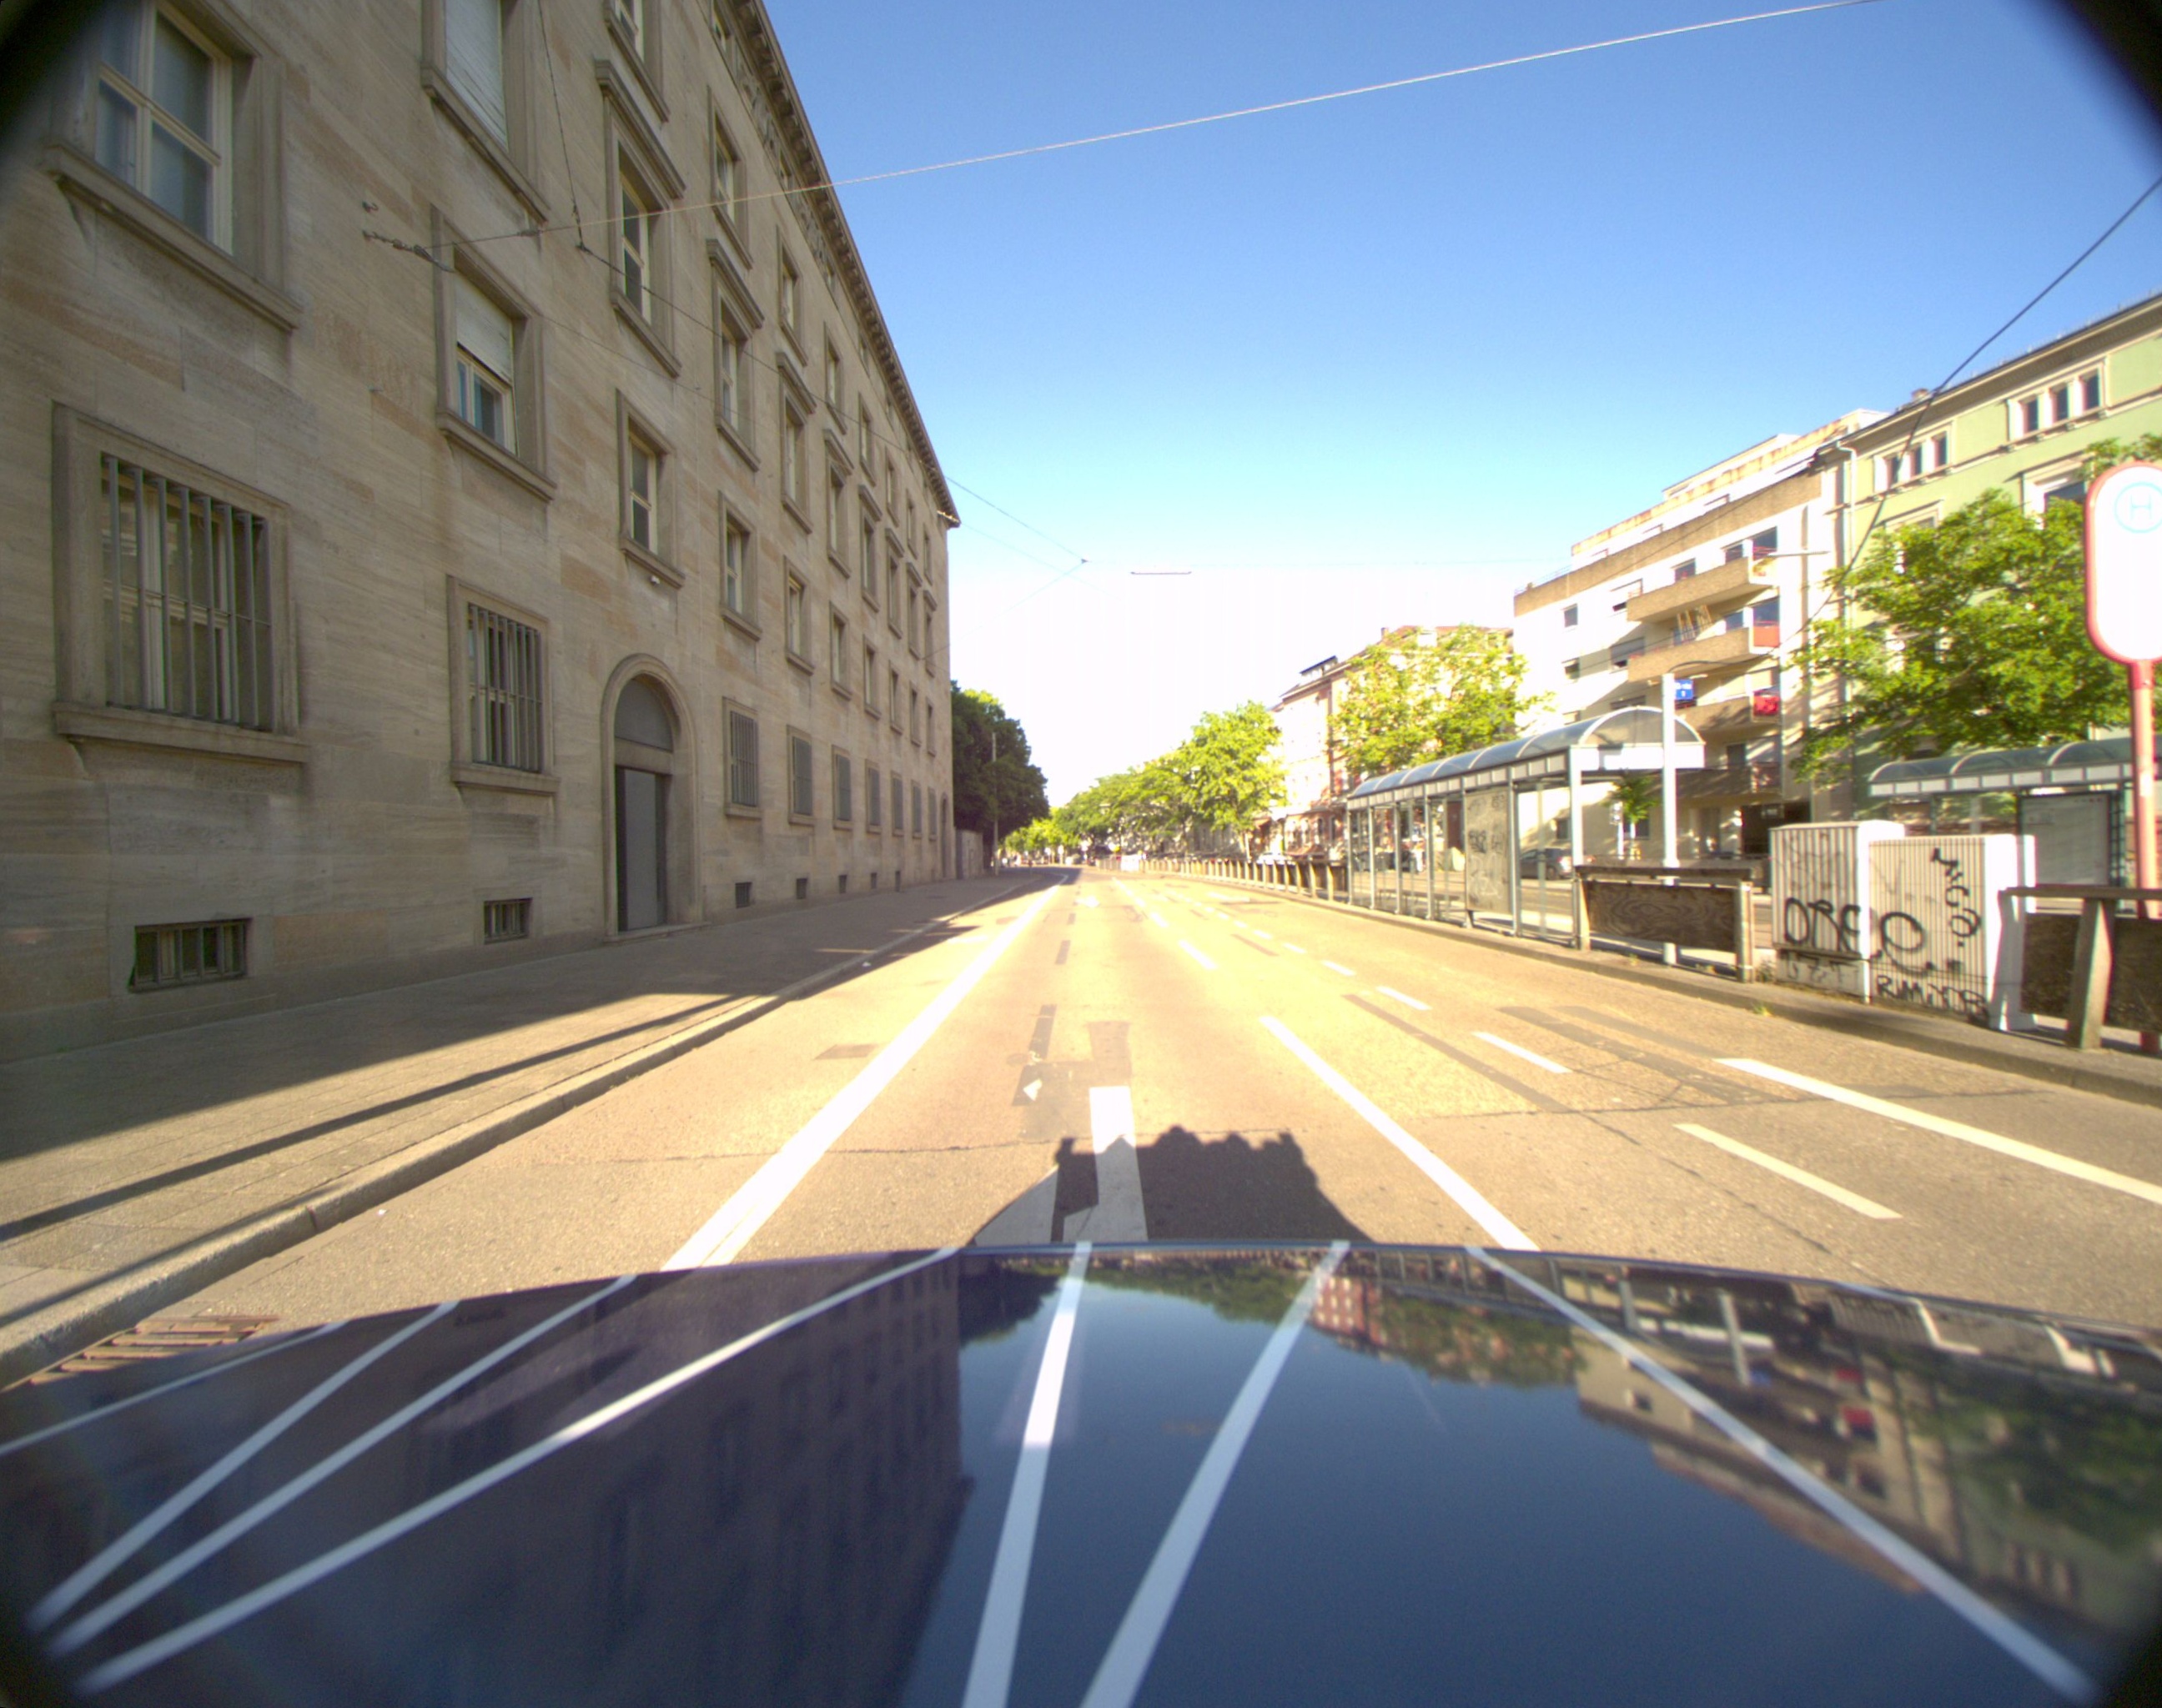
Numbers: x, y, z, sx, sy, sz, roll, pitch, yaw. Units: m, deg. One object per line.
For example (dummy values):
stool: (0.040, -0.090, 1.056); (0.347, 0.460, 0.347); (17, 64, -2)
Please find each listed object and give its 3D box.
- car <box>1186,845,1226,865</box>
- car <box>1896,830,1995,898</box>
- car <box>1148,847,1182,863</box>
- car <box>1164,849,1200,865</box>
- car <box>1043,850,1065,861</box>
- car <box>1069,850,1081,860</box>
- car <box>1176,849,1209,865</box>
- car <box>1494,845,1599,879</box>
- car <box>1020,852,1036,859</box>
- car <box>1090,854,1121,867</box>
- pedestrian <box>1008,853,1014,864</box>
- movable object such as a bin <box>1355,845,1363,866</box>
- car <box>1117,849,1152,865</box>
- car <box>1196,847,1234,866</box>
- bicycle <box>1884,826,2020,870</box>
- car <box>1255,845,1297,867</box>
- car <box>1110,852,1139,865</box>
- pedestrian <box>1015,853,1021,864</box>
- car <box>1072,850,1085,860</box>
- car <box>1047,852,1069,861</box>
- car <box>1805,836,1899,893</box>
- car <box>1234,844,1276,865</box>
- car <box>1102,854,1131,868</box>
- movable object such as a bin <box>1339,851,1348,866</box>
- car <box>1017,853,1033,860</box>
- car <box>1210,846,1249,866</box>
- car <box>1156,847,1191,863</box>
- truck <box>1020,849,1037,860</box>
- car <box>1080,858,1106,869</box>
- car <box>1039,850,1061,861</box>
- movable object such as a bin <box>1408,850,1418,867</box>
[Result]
car: (12.823, 0.077, 77.540); (4.293, 1.713, 1.703); (-6, 3, -43)
car: (24.346, 0.207, 21.519); (4.524, 1.632, 1.585); (-4, 2, -45)
car: (9.944, 0.101, 89.773); (3.877, 1.645, 1.768); (-4, 2, -41)
car: (11.219, 0.310, 84.298); (3.829, 1.477, 1.766); (-4, 2, -41)
car: (-5.760, 0.297, 161.108); (4.311, 1.940, 1.670); (-4, 1, -18)
car: (-1.222, 0.212, 146.324); (1.673, 1.886, 3.211); (-1, 0, -12)
car: (11.918, 0.315, 81.193); (3.286, 1.524, 1.703); (-6, 2, -43)
car: (20.841, 0.339, 34.233); (1.711, 1.402, 4.288); (-1, 0, -8)
car: (-13.610, 0.365, 193.890); (3.775, 1.584, 1.670); (-4, 1, -18)
car: (3.727, 1.040, 115.816); (4.366, 1.704, 1.944); (-4, 2, -35)
pedestrian: (-10.723, 0.666, 116.632); (0.831, 1.710, 0.804); (-1, 1, -6)
movable object such as a bin: (18.757, 0.120, 51.326); (0.380, 1.418, 0.386); (-1, 1, 0)
car: (6.679, 0.345, 94.202); (4.208, 1.788, 1.781); (-5, 3, -41)
car: (13.090, 0.225, 74.058); (1.630, 1.607, 3.993); (-2, 2, 43)
bicycle: (29.165, -0.196, 25.553); (0.719, 1.390, 3.007); (-1, 1, -14)
car: (16.373, 0.148, 63.658); (1.731, 1.513, 3.923); (-3, 1, 41)
car: (6.289, 0.606, 109.118); (4.208, 1.549, 1.636); (-4, 1, -41)
pedestrian: (-9.637, 0.639, 116.605); (0.872, 1.710, 0.804); (-1, 1, -3)
car: (-0.526, 0.193, 141.939); (1.673, 1.886, 3.211); (-1, 0, -12)
car: (-4.838, 0.481, 158.001); (4.105, 1.561, 1.670); (-4, 1, -18)
car: (23.344, 0.266, 23.053); (4.524, 1.417, 1.868); (-4, 2, -45)
car: (15.321, 0.022, 66.759); (3.929, 1.499, 1.685); (-5, 1, -43)
car: (5.202, 0.983, 111.274); (4.208, 1.714, 1.780); (-5, 2, -44)
movable object such as a bin: (18.023, 0.313, 52.112); (0.380, 1.062, 0.639); (-1, 1, 0)
car: (-14.528, 0.533, 197.194); (3.775, 1.584, 1.670); (-4, 1, -18)
car: (13.978, 0.134, 71.408); (1.630, 1.607, 3.993); (-2, 1, 43)
car: (10.572, 0.149, 86.906); (3.877, 1.645, 1.768); (-4, 2, -41)
truck: (-13.210, 0.142, 190.721); (3.774, 2.409, 1.671); (-4, 1, -13)
car: (1.888, 1.438, 118.254); (4.007, 1.478, 1.777); (-4, 2, -44)
car: (-6.694, 0.324, 163.147); (4.311, 1.940, 1.670); (-4, 1, -18)
movable object such as a bin: (21.316, 0.277, 48.761); (0.380, 1.090, 0.552); (-1, 2, -6)
